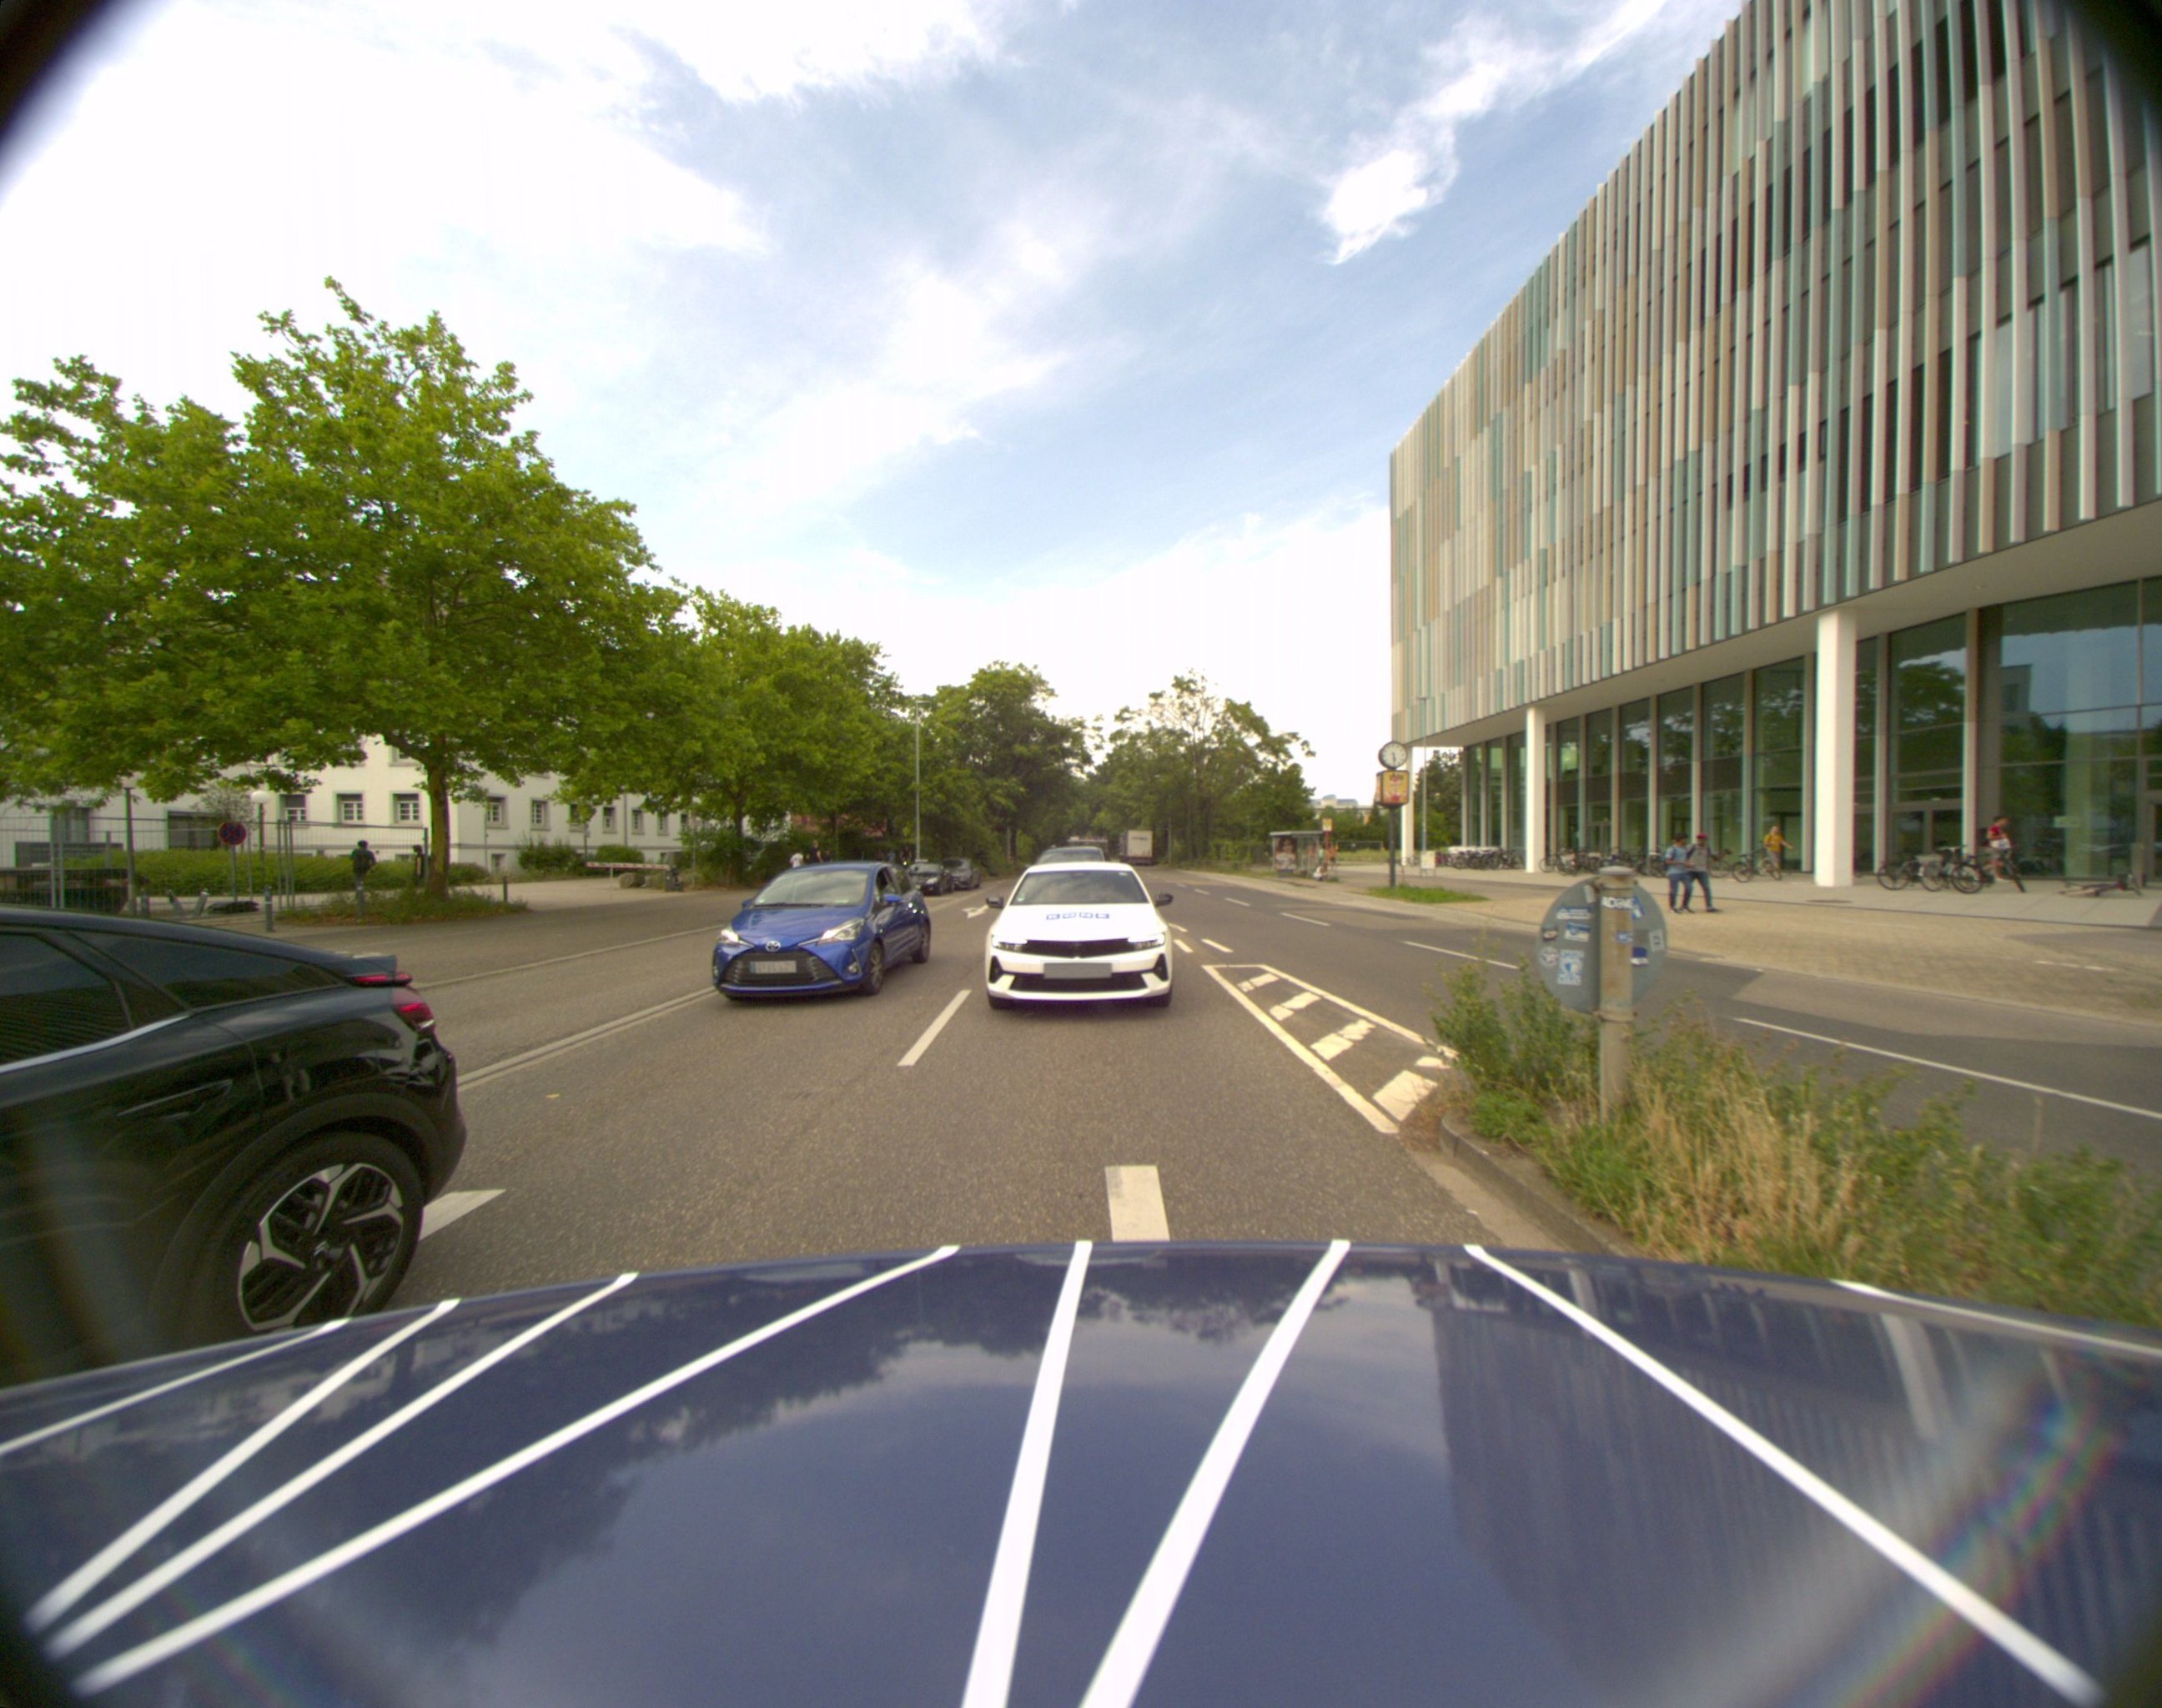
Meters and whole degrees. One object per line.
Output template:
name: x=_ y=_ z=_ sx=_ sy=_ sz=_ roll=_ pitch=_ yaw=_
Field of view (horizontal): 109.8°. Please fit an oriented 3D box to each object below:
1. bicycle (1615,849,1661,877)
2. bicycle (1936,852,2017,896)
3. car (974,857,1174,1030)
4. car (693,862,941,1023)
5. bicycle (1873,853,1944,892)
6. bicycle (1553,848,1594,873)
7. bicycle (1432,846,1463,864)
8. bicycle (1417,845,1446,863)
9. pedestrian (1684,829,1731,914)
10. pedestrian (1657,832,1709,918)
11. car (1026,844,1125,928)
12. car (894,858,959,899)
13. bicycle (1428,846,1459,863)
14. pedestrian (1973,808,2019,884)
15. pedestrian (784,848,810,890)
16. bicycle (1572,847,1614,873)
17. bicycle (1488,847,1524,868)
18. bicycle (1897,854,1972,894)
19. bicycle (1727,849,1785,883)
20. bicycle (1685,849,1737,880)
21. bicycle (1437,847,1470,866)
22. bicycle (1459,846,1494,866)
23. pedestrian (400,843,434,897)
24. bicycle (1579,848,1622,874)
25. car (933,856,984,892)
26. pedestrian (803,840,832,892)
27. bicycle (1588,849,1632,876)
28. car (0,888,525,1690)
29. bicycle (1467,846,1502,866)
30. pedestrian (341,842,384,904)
bicycle: x=21.892 y=0.358 z=29.868 sx=1.581 sy=1.017 sz=0.389 roll=-3 pitch=1 yaw=-4
bicycle: x=21.629 y=0.481 z=18.351 sx=1.545 sy=0.989 sz=0.399 roll=-3 pitch=1 yaw=-3
car: x=-0.048 y=0.800 z=9.083 sx=1.744 sy=1.430 sz=4.781 roll=-1 pitch=1 yaw=0
car: x=-2.971 y=0.900 z=9.446 sx=1.703 sy=1.485 sz=3.831 roll=-1 pitch=1 yaw=0
bicycle: x=21.743 y=0.489 z=19.973 sx=1.546 sy=0.932 sz=0.389 roll=-3 pitch=1 yaw=-4
bicycle: x=21.912 y=0.298 z=33.808 sx=1.581 sy=1.017 sz=0.389 roll=-3 pitch=1 yaw=-4
bicycle: x=22.230 y=0.045 z=46.066 sx=1.703 sy=1.017 sz=0.434 roll=-3 pitch=1 yaw=-4
bicycle: x=22.336 y=-0.003 z=48.424 sx=1.703 sy=1.017 sz=0.434 roll=-3 pitch=1 yaw=-4
pedestrian: x=13.745 y=0.373 z=16.692 sx=0.512 sy=1.827 sz=0.624 roll=-1 pitch=0 yaw=0
pedestrian: x=13.102 y=0.452 z=16.552 sx=0.512 sy=1.827 sz=0.772 roll=-1 pitch=0 yaw=0
car: x=0.024 y=0.649 z=18.353 sx=1.903 sy=1.639 sz=4.645 roll=-2 pitch=2 yaw=5
car: x=-6.051 y=0.920 z=30.091 sx=1.703 sy=1.361 sz=3.831 roll=3 pitch=1 yaw=0
bicycle: x=22.410 y=0.022 z=46.941 sx=1.703 sy=1.017 sz=0.434 roll=-3 pitch=1 yaw=-4
pedestrian: x=24.912 y=-0.212 z=20.699 sx=0.512 sy=2.031 sz=0.625 roll=-1 pitch=0 yaw=5
pedestrian: x=-10.704 y=0.569 z=28.692 sx=0.646 sy=1.556 sz=0.804 roll=-1 pitch=1 yaw=0
bicycle: x=21.992 y=0.244 z=32.660 sx=1.581 sy=1.017 sz=0.389 roll=-3 pitch=1 yaw=-4
bicycle: x=22.351 y=0.176 z=39.943 sx=1.703 sy=1.017 sz=0.389 roll=-3 pitch=1 yaw=-4
bicycle: x=21.619 y=0.492 z=19.259 sx=1.546 sy=0.932 sz=0.394 roll=-3 pitch=1 yaw=-4
bicycle: x=21.990 y=0.387 z=24.761 sx=1.581 sy=1.017 sz=0.389 roll=-3 pitch=1 yaw=-4
bicycle: x=22.252 y=0.373 z=26.835 sx=1.581 sy=1.017 sz=0.389 roll=-3 pitch=1 yaw=-4
bicycle: x=21.988 y=0.156 z=44.876 sx=1.703 sy=1.017 sz=0.434 roll=-3 pitch=1 yaw=-4
bicycle: x=22.087 y=0.117 z=42.437 sx=1.703 sy=1.017 sz=0.434 roll=-3 pitch=1 yaw=-4
pedestrian: x=-21.582 y=0.510 z=24.715 sx=0.530 sy=1.743 sz=0.594 roll=-1 pitch=1 yaw=5
bicycle: x=21.949 y=0.291 z=32.090 sx=1.581 sy=1.017 sz=0.389 roll=-3 pitch=1 yaw=-4
car: x=-5.543 y=0.859 z=34.770 sx=1.606 sy=1.454 sz=4.017 roll=-1 pitch=1 yaw=0
pedestrian: x=-9.962 y=0.440 z=28.713 sx=0.798 sy=1.922 sz=0.760 roll=-1 pitch=1 yaw=0
bicycle: x=21.944 y=0.346 z=31.517 sx=1.581 sy=1.017 sz=0.389 roll=-3 pitch=1 yaw=-4
car: x=-3.187 y=1.001 z=0.866 sx=1.803 sy=1.547 sz=4.175 roll=-2 pitch=2 yaw=3
bicycle: x=22.098 y=0.113 z=41.586 sx=1.703 sy=1.017 sz=0.434 roll=-3 pitch=1 yaw=-4
pedestrian: x=-20.418 y=0.536 z=21.601 sx=0.586 sy=1.729 sz=0.594 roll=-1 pitch=1 yaw=2
